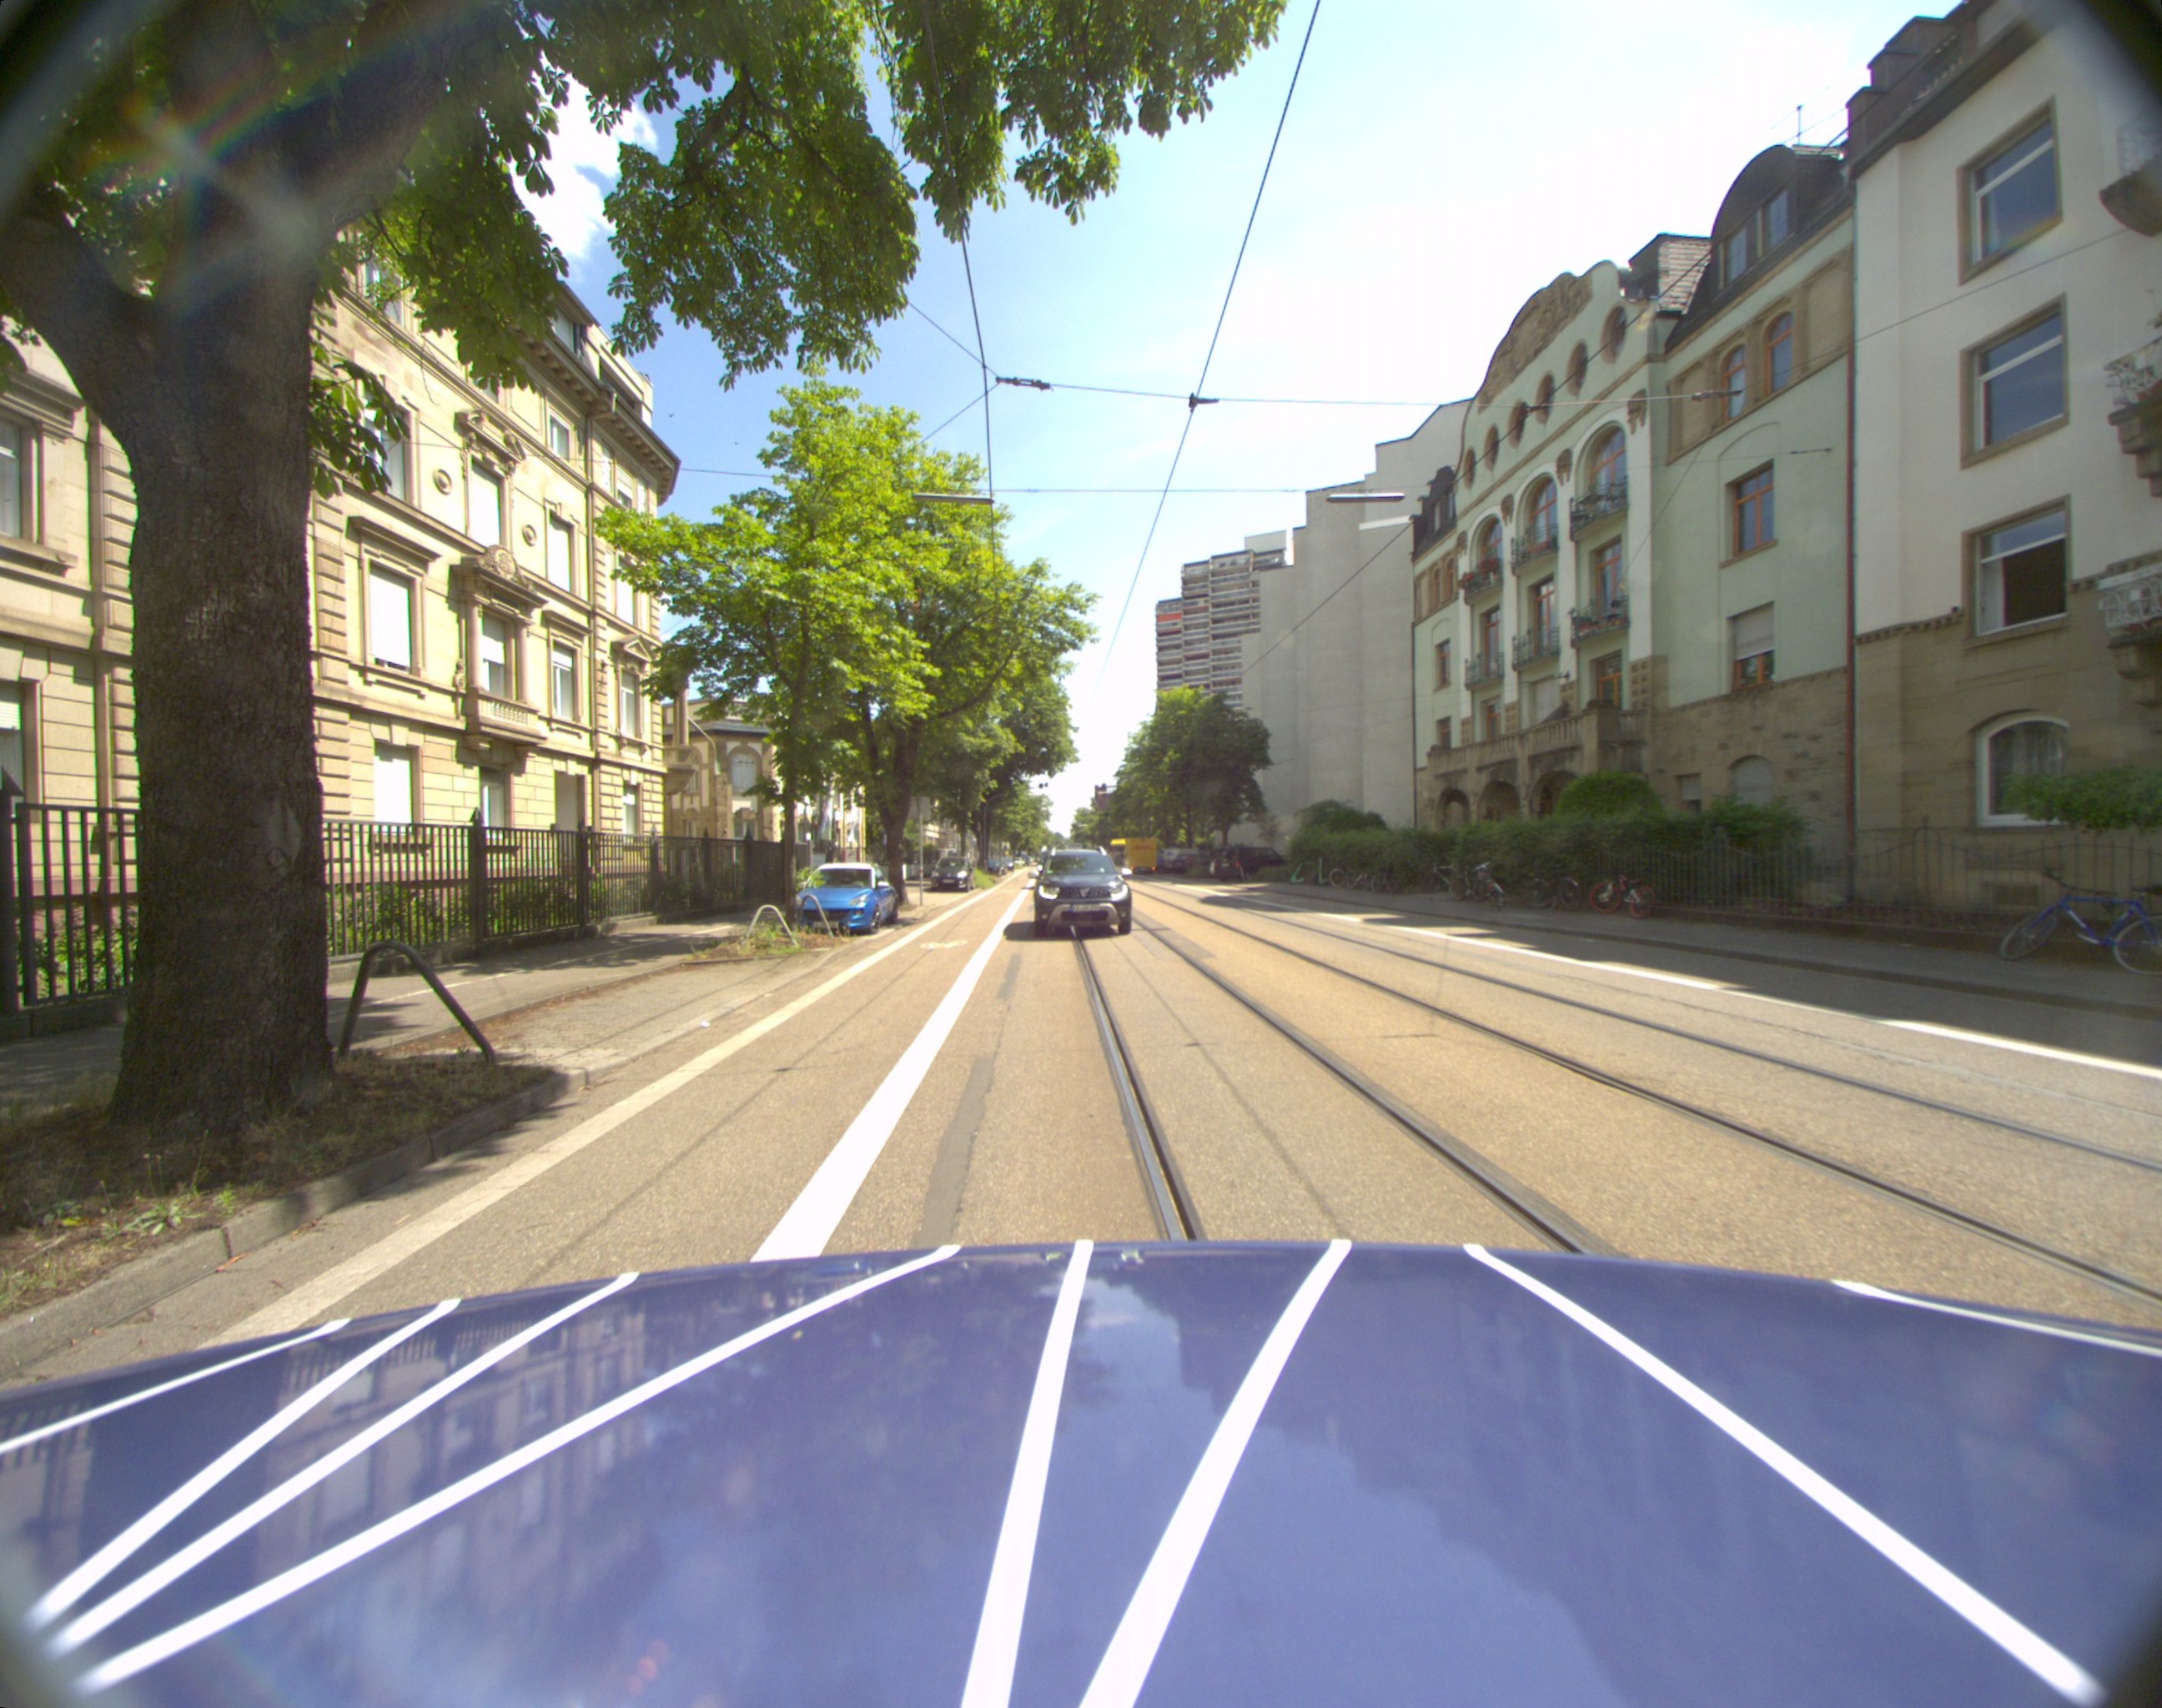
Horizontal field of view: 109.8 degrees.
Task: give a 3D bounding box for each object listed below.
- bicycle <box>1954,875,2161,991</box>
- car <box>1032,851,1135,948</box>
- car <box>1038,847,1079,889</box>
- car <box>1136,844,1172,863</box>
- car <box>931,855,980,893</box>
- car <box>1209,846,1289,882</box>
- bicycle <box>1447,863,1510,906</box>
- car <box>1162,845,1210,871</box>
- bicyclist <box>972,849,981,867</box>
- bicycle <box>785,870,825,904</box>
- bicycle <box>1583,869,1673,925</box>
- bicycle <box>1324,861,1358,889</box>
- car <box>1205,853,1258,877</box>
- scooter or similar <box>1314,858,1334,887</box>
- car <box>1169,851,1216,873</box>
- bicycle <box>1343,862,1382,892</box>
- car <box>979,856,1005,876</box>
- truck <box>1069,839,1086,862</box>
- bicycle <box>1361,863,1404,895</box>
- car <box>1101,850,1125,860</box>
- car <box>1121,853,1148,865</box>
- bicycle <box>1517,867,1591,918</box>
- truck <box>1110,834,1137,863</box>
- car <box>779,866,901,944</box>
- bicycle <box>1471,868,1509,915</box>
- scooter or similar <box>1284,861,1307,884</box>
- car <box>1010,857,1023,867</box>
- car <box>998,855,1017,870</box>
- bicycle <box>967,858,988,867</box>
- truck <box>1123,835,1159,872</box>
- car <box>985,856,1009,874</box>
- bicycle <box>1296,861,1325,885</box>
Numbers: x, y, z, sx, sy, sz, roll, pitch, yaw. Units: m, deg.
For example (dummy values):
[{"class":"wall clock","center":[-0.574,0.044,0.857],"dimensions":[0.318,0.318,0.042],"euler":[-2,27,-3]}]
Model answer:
[{"class":"bicycle","center":[10.901,0.800,8.285],"dimensions":[0.609,1.058,1.771],"euler":[-5,0,-3]},{"class":"car","center":[-0.036,0.777,15.318],"dimensions":[1.753,1.641,4.296],"euler":[-1,0,-2]},{"class":"car","center":[-1.081,0.641,36.699],"dimensions":[1.753,1.806,4.307],"euler":[-3,0,-2]},{"class":"car","center":[8.465,-0.071,88.012],"dimensions":[1.873,2.095,4.596],"euler":[0,0,38]},{"class":"car","center":[-5.816,0.893,35.539],"dimensions":[1.734,1.606,4.083],"euler":[1,0,-2]},{"class":"car","center":[9.400,0.512,42.367],"dimensions":[4.595,1.914,1.957],"euler":[-1,0,-39]},{"class":"bicycle","center":[10.517,0.783,20.167],"dimensions":[0.609,1.026,1.771],"euler":[-5,0,-3]},{"class":"car","center":[8.606,0.327,62.073],"dimensions":[4.061,2.030,1.598],"euler":[-1,1,-43]},{"class":"bicyclist","center":[-11.903,0.423,86.805],"dimensions":[0.806,2.002,0.774],"euler":[-1,1,13]},{"class":"bicycle","center":[-9.286,1.084,25.639],"dimensions":[0.609,1.065,1.980],"euler":[-1,0,0]},{"class":"bicycle","center":[10.700,0.815,14.928],"dimensions":[0.414,0.960,1.725],"euler":[-4,0,-2]},{"class":"bicycle","center":[10.095,0.788,29.523],"dimensions":[0.609,0.983,1.707],"euler":[-5,0,-3]},{"class":"car","center":[9.748,0.690,49.095],"dimensions":[1.721,1.445,3.635],"euler":[0,0,42]},{"class":"scooter or similar","center":[10.004,0.751,31.284],"dimensions":[0.407,1.113,1.290],"euler":[-1,0,0]},{"class":"car","center":[8.601,0.575,58.581],"dimensions":[3.692,1.566,1.678],"euler":[-1,1,-45]},{"class":"bicycle","center":[10.140,0.810,27.424],"dimensions":[0.609,0.983,1.707],"euler":[-5,0,-3]},{"class":"car","center":[-6.658,0.894,57.244],"dimensions":[1.626,1.395,3.822],"euler":[1,0,-2]},{"class":"truck","center":[-0.587,-0.574,128.489],"dimensions":[2.792,3.598,8.255],"euler":[-1,0,0]},{"class":"bicycle","center":[10.122,0.836,25.604],"dimensions":[0.609,0.970,1.771],"euler":[-5,0,-3]},{"class":"car","center":[6.244,0.161,147.281],"dimensions":[4.338,1.797,1.995],"euler":[-1,0,-35]},{"class":"car","center":[6.938,0.599,98.258],"dimensions":[1.678,1.445,3.682],"euler":[0,0,42]},{"class":"bicycle","center":[10.450,0.824,16.855],"dimensions":[0.465,0.993,1.707],"euler":[-4,0,-2]},{"class":"truck","center":[6.645,-0.831,117.363],"dimensions":[2.672,4.155,10.481],"euler":[-1,0,11]},{"class":"car","center":[-5.143,1.019,16.664],"dimensions":[1.696,1.444,3.472],"euler":[-1,0,-3]},{"class":"bicycle","center":[9.589,0.851,17.790],"dimensions":[0.608,0.993,1.778],"euler":[0,0,33]},{"class":"scooter or similar","center":[9.770,0.824,34.614],"dimensions":[0.407,1.014,1.222],"euler":[-1,0,-18]},{"class":"car","center":[-9.377,1.095,110.996],"dimensions":[1.626,1.395,3.999],"euler":[1,0,-2]},{"class":"car","center":[-7.405,0.859,76.595],"dimensions":[1.626,1.395,3.999],"euler":[1,0,-2]},{"class":"bicycle","center":[-11.846,0.971,86.781],"dimensions":[2.170,1.089,0.813],"euler":[-1,1,15]},{"class":"truck","center":[4.876,-0.058,62.638],"dimensions":[2.307,2.903,6.514],"euler":[-1,0,-1]},{"class":"car","center":[-6.946,0.895,63.141],"dimensions":[1.626,1.395,3.999],"euler":[1,0,-2]},{"class":"bicycle","center":[9.919,0.807,32.932],"dimensions":[0.609,0.983,1.707],"euler":[-5,0,-3]}]
